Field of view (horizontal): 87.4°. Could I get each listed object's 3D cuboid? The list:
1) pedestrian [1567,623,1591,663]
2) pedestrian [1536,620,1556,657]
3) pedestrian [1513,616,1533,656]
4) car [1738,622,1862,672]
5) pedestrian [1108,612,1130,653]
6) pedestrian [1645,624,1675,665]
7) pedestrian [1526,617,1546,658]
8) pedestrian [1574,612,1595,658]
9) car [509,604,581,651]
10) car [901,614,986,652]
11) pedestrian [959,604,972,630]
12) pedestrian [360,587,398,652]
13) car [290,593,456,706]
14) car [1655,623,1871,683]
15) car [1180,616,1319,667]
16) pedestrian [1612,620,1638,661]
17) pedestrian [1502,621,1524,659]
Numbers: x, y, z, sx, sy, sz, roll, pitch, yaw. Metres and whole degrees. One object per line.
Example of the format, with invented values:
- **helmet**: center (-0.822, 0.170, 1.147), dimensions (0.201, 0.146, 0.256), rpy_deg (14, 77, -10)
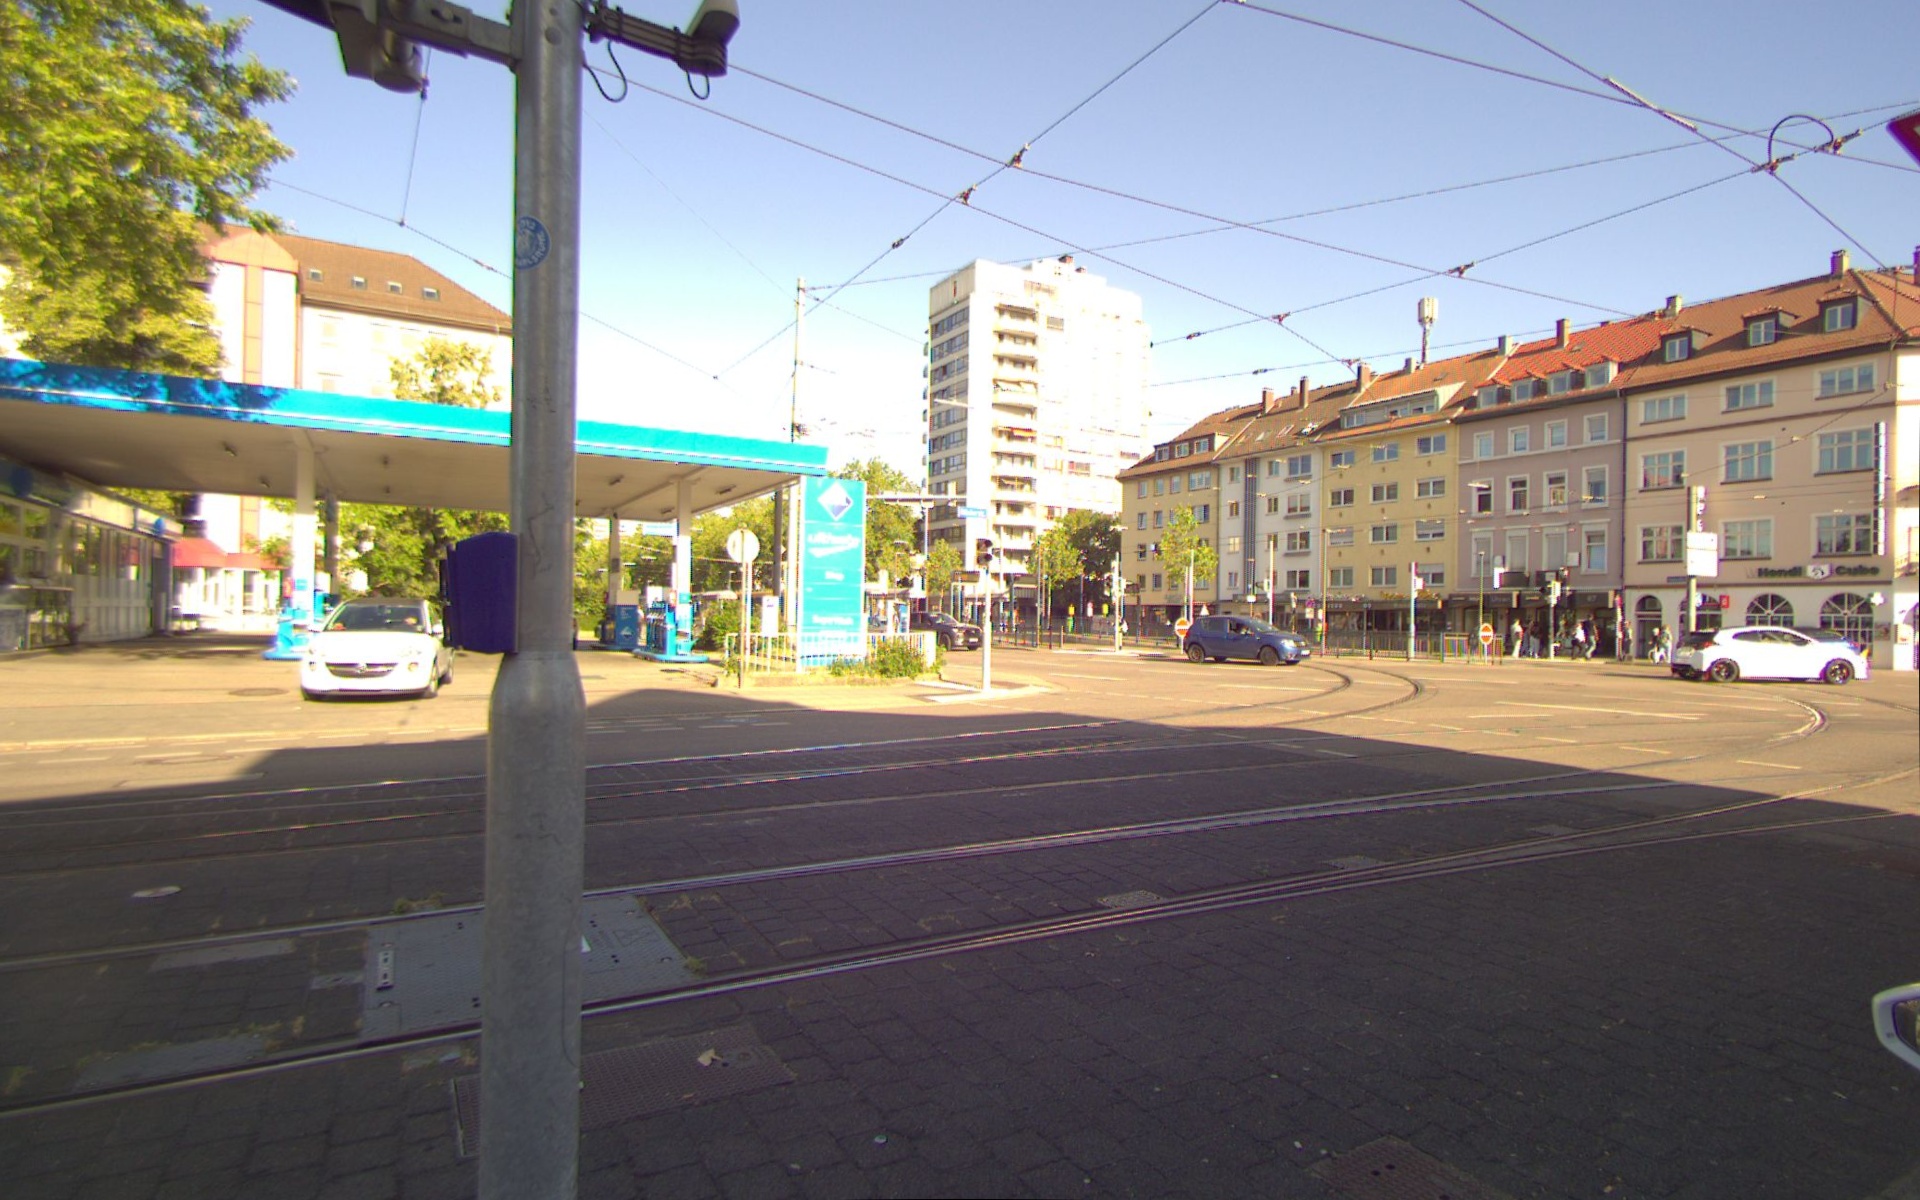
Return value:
- **pedestrian**: center (26.494, 1.823, 43.010), dimensions (0.719, 1.670, 0.570), rpy_deg (2, 0, -30)
- **pedestrian**: center (24.272, 1.602, 41.620), dimensions (0.550, 1.512, 0.489), rpy_deg (2, 0, -30)
- **pedestrian**: center (23.822, 1.524, 42.532), dimensions (0.492, 1.670, 0.520), rpy_deg (2, 0, -30)
- **car**: center (29.773, 1.632, 35.759), dimensions (1.794, 1.596, 4.201), rpy_deg (1, 0, 15)
- **pedestrian**: center (6.471, 1.313, 40.899), dimensions (0.750, 1.631, 0.613), rpy_deg (2, 0, 15)
- **pedestrian**: center (28.239, 1.805, 40.528), dimensions (0.805, 1.615, 0.665), rpy_deg (2, 0, -30)
- **pedestrian**: center (24.081, 1.569, 42.025), dimensions (0.492, 1.670, 0.520), rpy_deg (2, 0, -30)
- **pedestrian**: center (25.472, 1.419, 40.964), dimensions (0.672, 1.847, 0.522), rpy_deg (2, 0, -45)
- **car**: center (-13.518, 0.859, 32.644), dimensions (1.659, 1.372, 3.559), rpy_deg (2, 0, -31)
- **car**: center (-0.788, 1.454, 44.611), dimensions (1.852, 1.623, 4.419), rpy_deg (1, -2, -30)
- **pedestrian**: center (0.436, 1.417, 82.742), dimensions (0.729, 2.127, 0.880), rpy_deg (2, 0, -21)
- **pedestrian**: center (-15.628, 0.541, 27.019), dimensions (0.838, 1.724, 0.644), rpy_deg (2, -3, -31)
- **car**: center (-9.025, 0.687, 15.743), dimensions (1.719, 1.455, 3.912), rpy_deg (2, 1, -23)
- **car**: center (20.705, 1.337, 26.070), dimensions (3.927, 1.473, 1.900), rpy_deg (0, -1, 13)
- **car**: center (9.088, 1.268, 31.740), dimensions (3.866, 1.523, 1.779), rpy_deg (-1, -2, 45)
- **pedestrian**: center (27.732, 1.694, 41.882), dimensions (0.831, 1.670, 0.579), rpy_deg (2, 0, -30)
- **pedestrian**: center (24.481, 1.768, 44.469), dimensions (0.609, 1.670, 0.581), rpy_deg (2, 0, -30)
